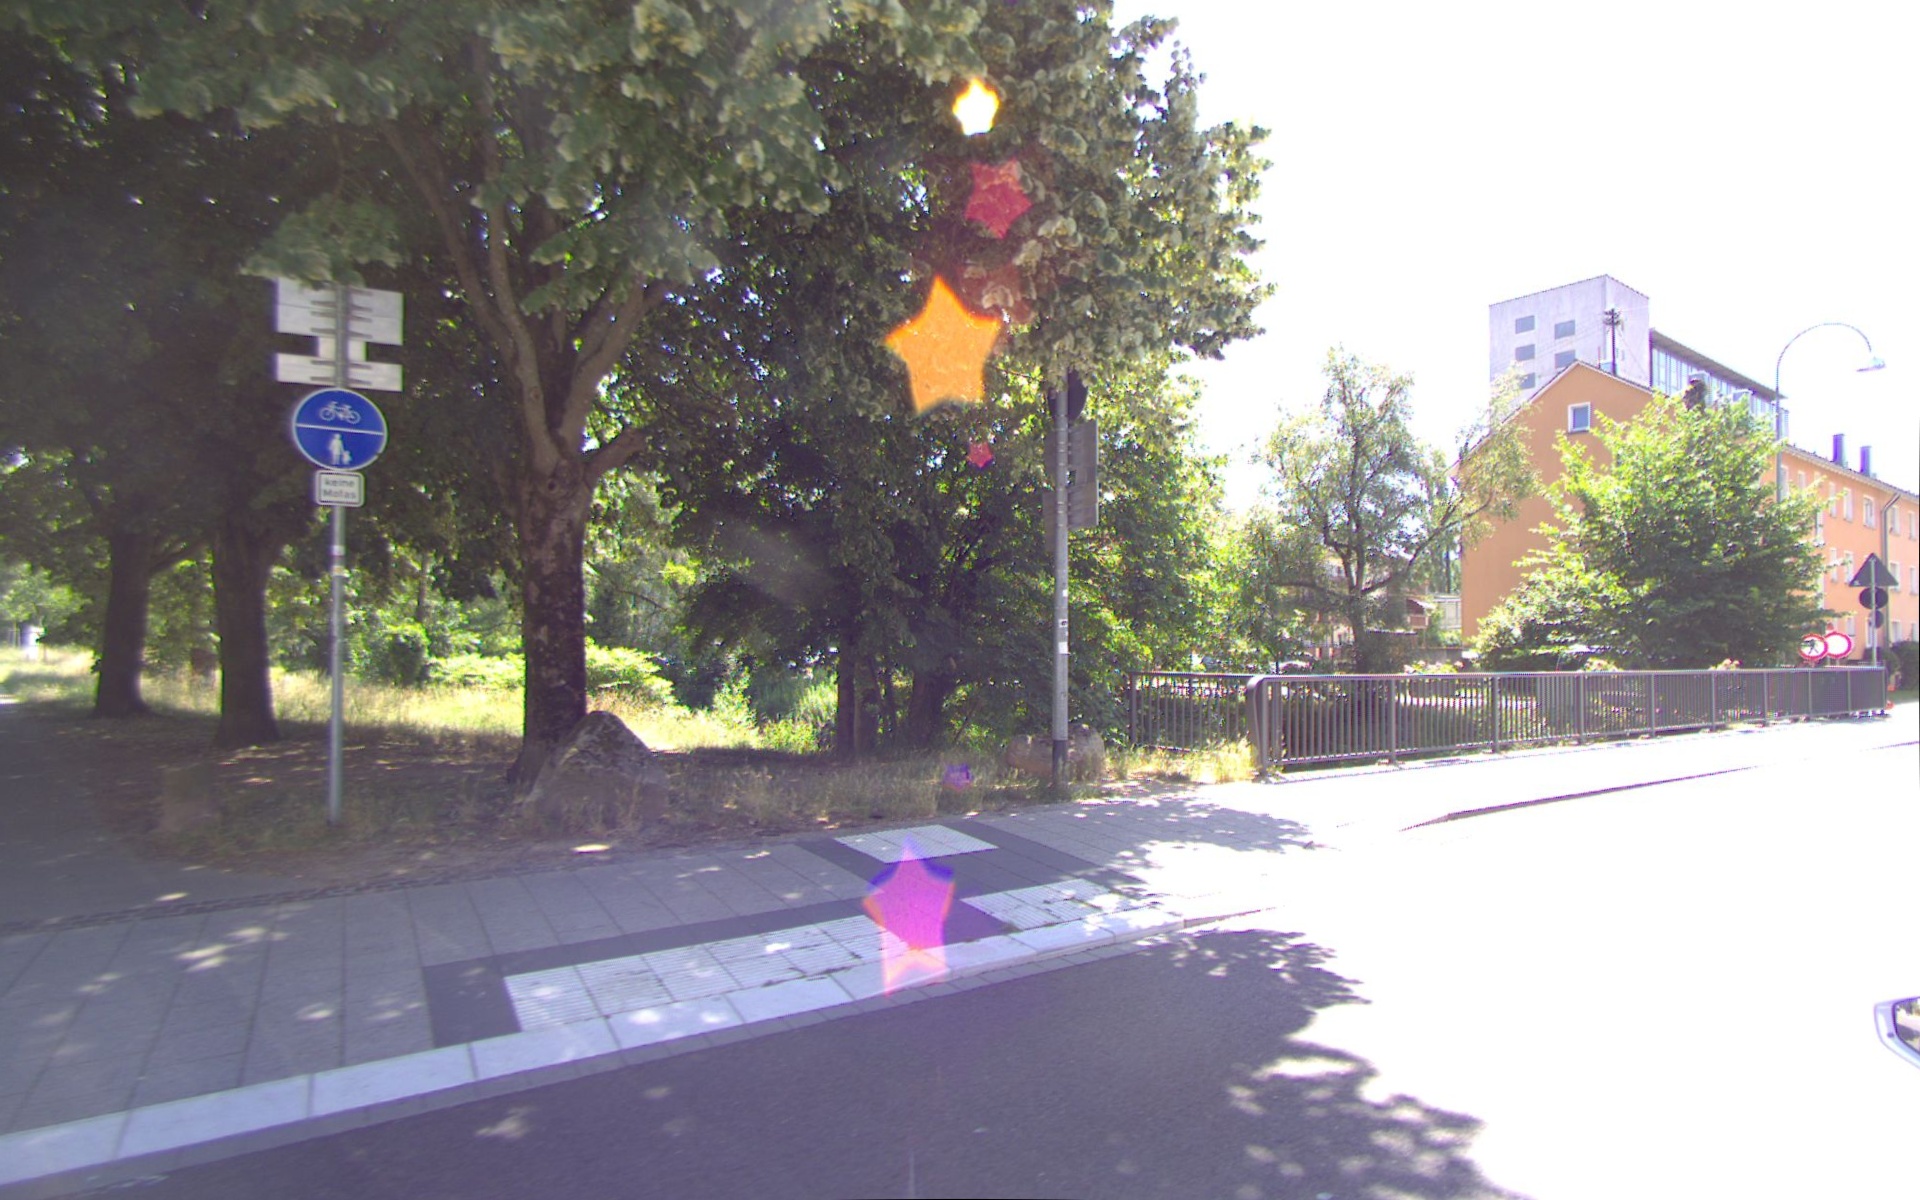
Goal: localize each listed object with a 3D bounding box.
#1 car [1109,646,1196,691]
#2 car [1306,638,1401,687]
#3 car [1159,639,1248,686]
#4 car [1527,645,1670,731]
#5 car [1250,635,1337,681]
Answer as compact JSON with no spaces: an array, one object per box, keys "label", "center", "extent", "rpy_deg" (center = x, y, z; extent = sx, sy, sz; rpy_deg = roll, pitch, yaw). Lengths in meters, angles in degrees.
[{"label":"car","center":[9.235,3.242,48.218],"extent":[3.962,2.040,1.980],"rpy_deg":[2,-2,-37]},{"label":"car","center":[17.324,2.710,44.198],"extent":[3.958,2.040,1.982],"rpy_deg":[1,-2,-34]},{"label":"car","center":[11.243,2.850,46.335],"extent":[3.964,2.040,1.979],"rpy_deg":[2,-3,-37]},{"label":"car","center":[17.024,2.259,26.731],"extent":[3.963,2.040,1.979],"rpy_deg":[1,-2,-37]},{"label":"car","center":[15.625,2.681,46.993],"extent":[3.964,2.040,1.979],"rpy_deg":[2,-3,-37]}]
